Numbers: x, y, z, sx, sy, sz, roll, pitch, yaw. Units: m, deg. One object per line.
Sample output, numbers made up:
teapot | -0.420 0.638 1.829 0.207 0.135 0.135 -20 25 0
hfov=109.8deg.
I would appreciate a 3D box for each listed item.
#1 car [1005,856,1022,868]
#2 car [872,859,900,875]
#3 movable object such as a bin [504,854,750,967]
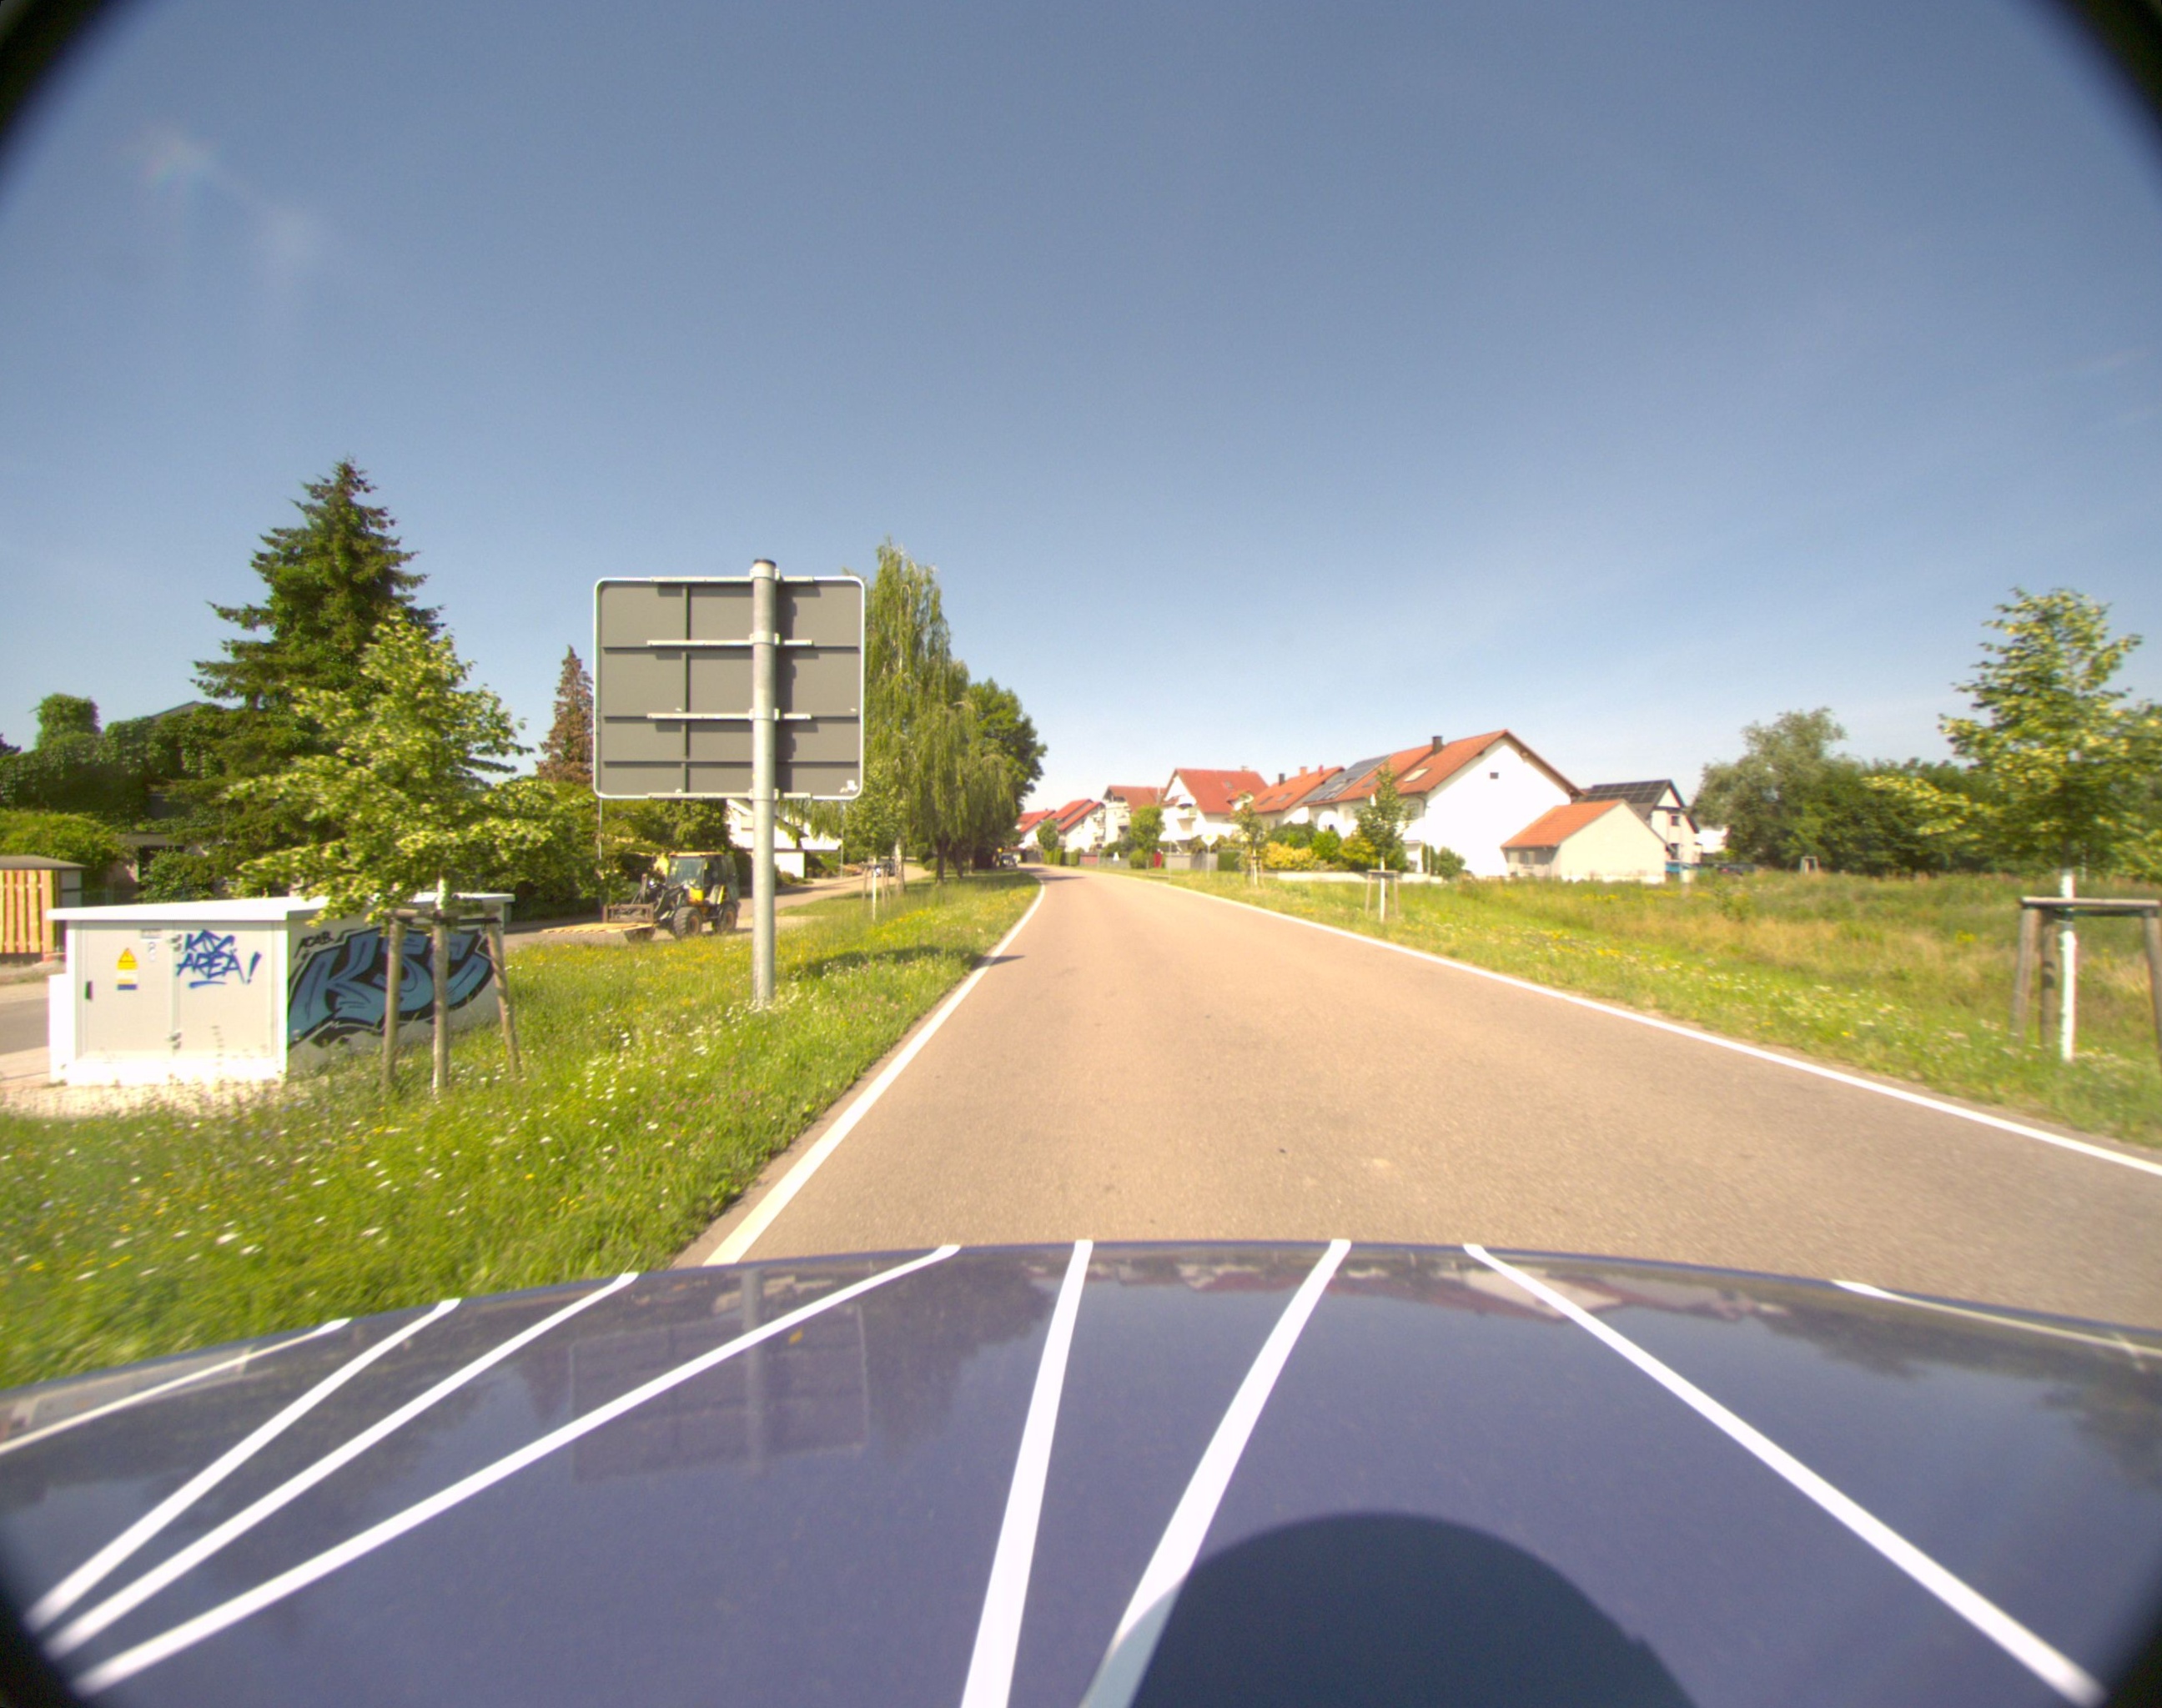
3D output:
car | -9.110 1.052 102.399 1.935 1.552 3.996 -2 1 -11
car | -19.564 1.300 76.490 1.863 1.437 4.167 -2 1 -3
movable object such as a bin | -11.631 1.259 20.421 2.322 2.449 6.945 -1 1 1
